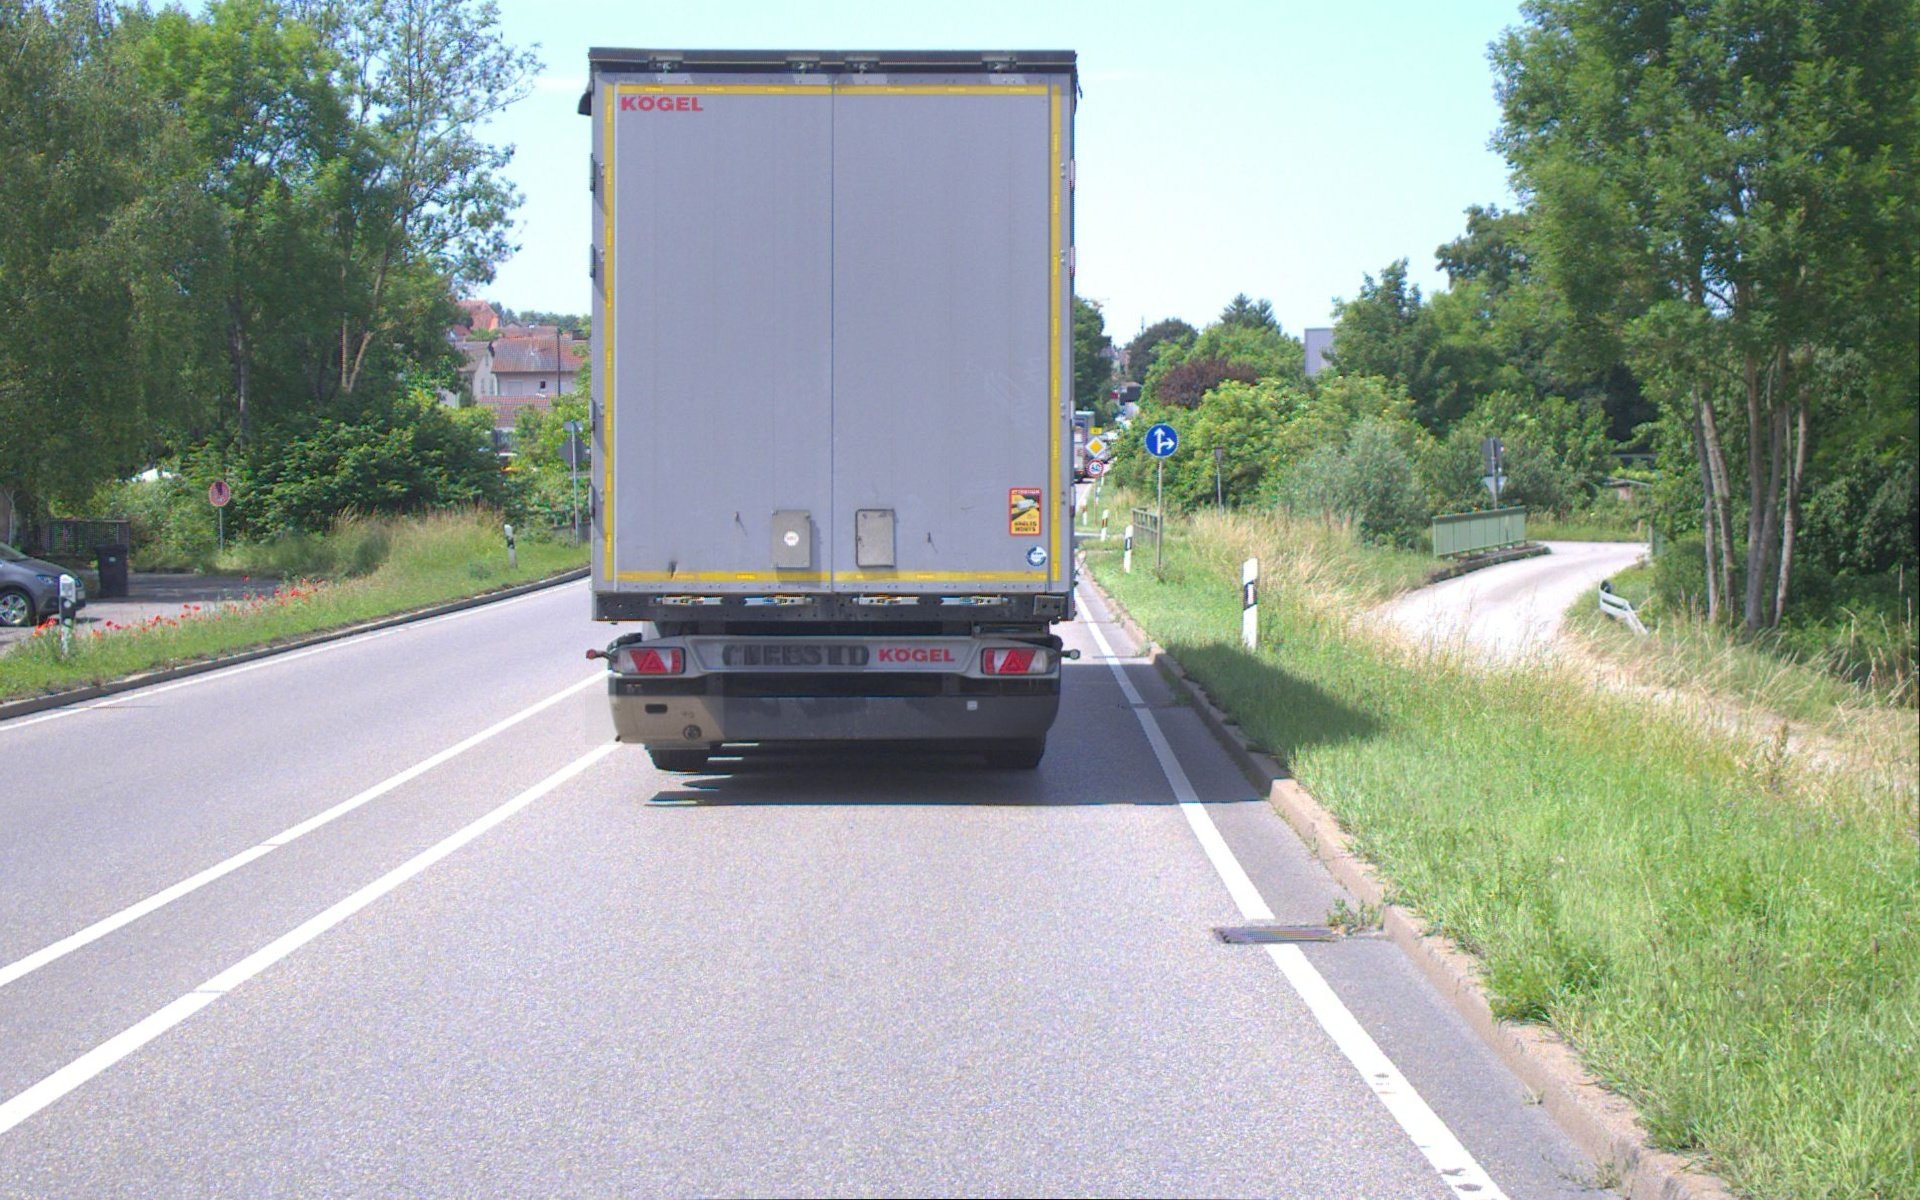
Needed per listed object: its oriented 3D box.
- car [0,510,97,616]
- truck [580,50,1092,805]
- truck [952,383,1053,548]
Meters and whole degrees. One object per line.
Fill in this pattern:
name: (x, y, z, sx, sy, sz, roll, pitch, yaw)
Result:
car: (-17.480, -0.677, 59.528, 4.662, 1.714, 1.862, 1, 4, -3)
truck: (-0.662, -1.013, 22.259, 2.647, 3.903, 8.826, 0, 2, 0)
truck: (1.168, -3.886, 102.037, 2.646, 4.585, 10.817, 1, 1, -1)
